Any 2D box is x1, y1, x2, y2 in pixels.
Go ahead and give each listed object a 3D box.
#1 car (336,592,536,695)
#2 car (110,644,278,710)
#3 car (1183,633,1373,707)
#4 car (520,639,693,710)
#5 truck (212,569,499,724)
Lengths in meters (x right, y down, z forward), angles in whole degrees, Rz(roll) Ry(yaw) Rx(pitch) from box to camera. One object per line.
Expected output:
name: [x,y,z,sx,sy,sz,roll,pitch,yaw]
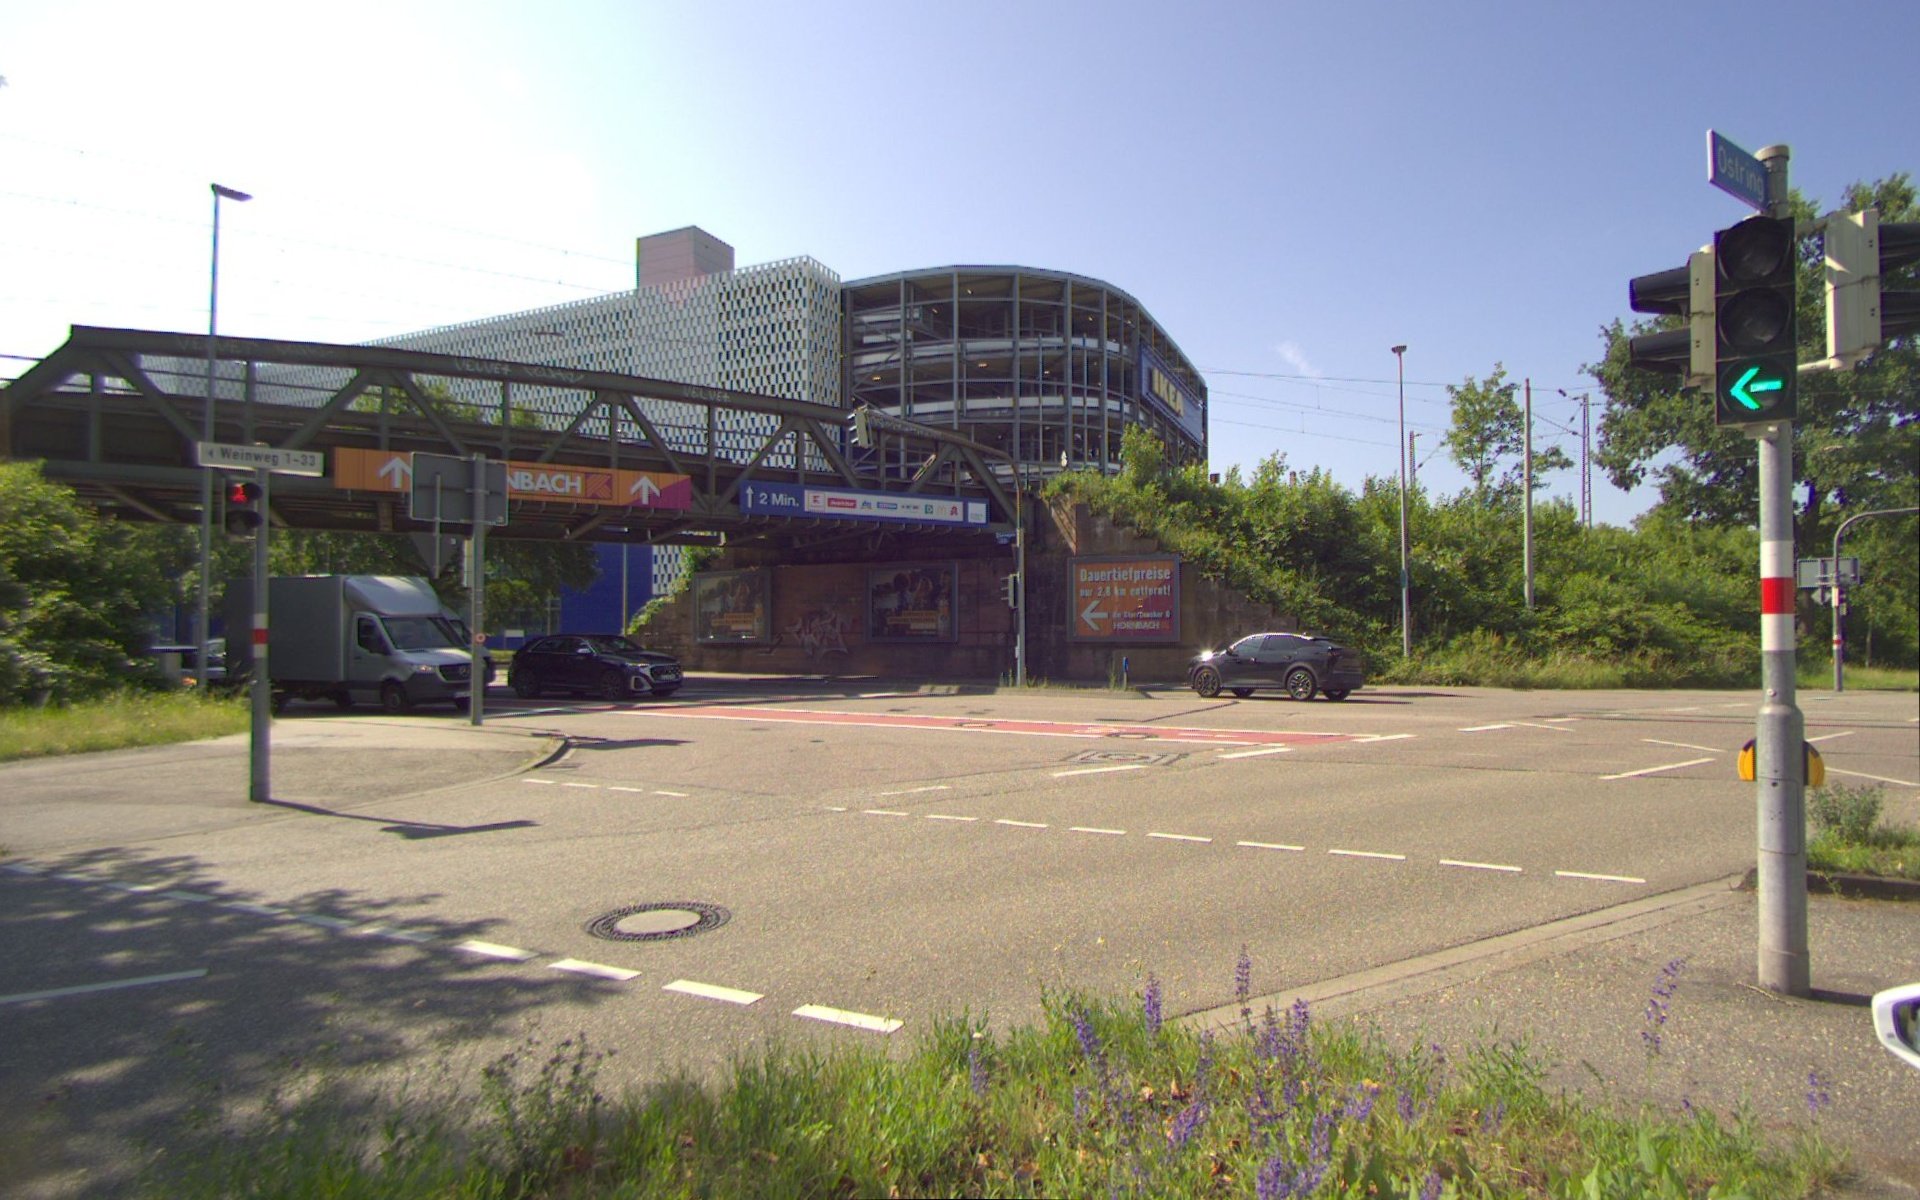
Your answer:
car: [-15.754,1.322,30.136,6.085,2.849,2.173,-2,-3,27]
car: [-19.805,1.938,25.954,4.161,1.408,1.888,1,-1,28]
car: [7.913,1.709,25.276,1.922,1.683,4.178,1,-3,-41]
car: [-9.011,1.887,25.588,3.925,1.668,1.903,-3,-2,25]
truck: [-13.843,1.107,22.901,6.736,3.146,2.217,-3,-2,25]
